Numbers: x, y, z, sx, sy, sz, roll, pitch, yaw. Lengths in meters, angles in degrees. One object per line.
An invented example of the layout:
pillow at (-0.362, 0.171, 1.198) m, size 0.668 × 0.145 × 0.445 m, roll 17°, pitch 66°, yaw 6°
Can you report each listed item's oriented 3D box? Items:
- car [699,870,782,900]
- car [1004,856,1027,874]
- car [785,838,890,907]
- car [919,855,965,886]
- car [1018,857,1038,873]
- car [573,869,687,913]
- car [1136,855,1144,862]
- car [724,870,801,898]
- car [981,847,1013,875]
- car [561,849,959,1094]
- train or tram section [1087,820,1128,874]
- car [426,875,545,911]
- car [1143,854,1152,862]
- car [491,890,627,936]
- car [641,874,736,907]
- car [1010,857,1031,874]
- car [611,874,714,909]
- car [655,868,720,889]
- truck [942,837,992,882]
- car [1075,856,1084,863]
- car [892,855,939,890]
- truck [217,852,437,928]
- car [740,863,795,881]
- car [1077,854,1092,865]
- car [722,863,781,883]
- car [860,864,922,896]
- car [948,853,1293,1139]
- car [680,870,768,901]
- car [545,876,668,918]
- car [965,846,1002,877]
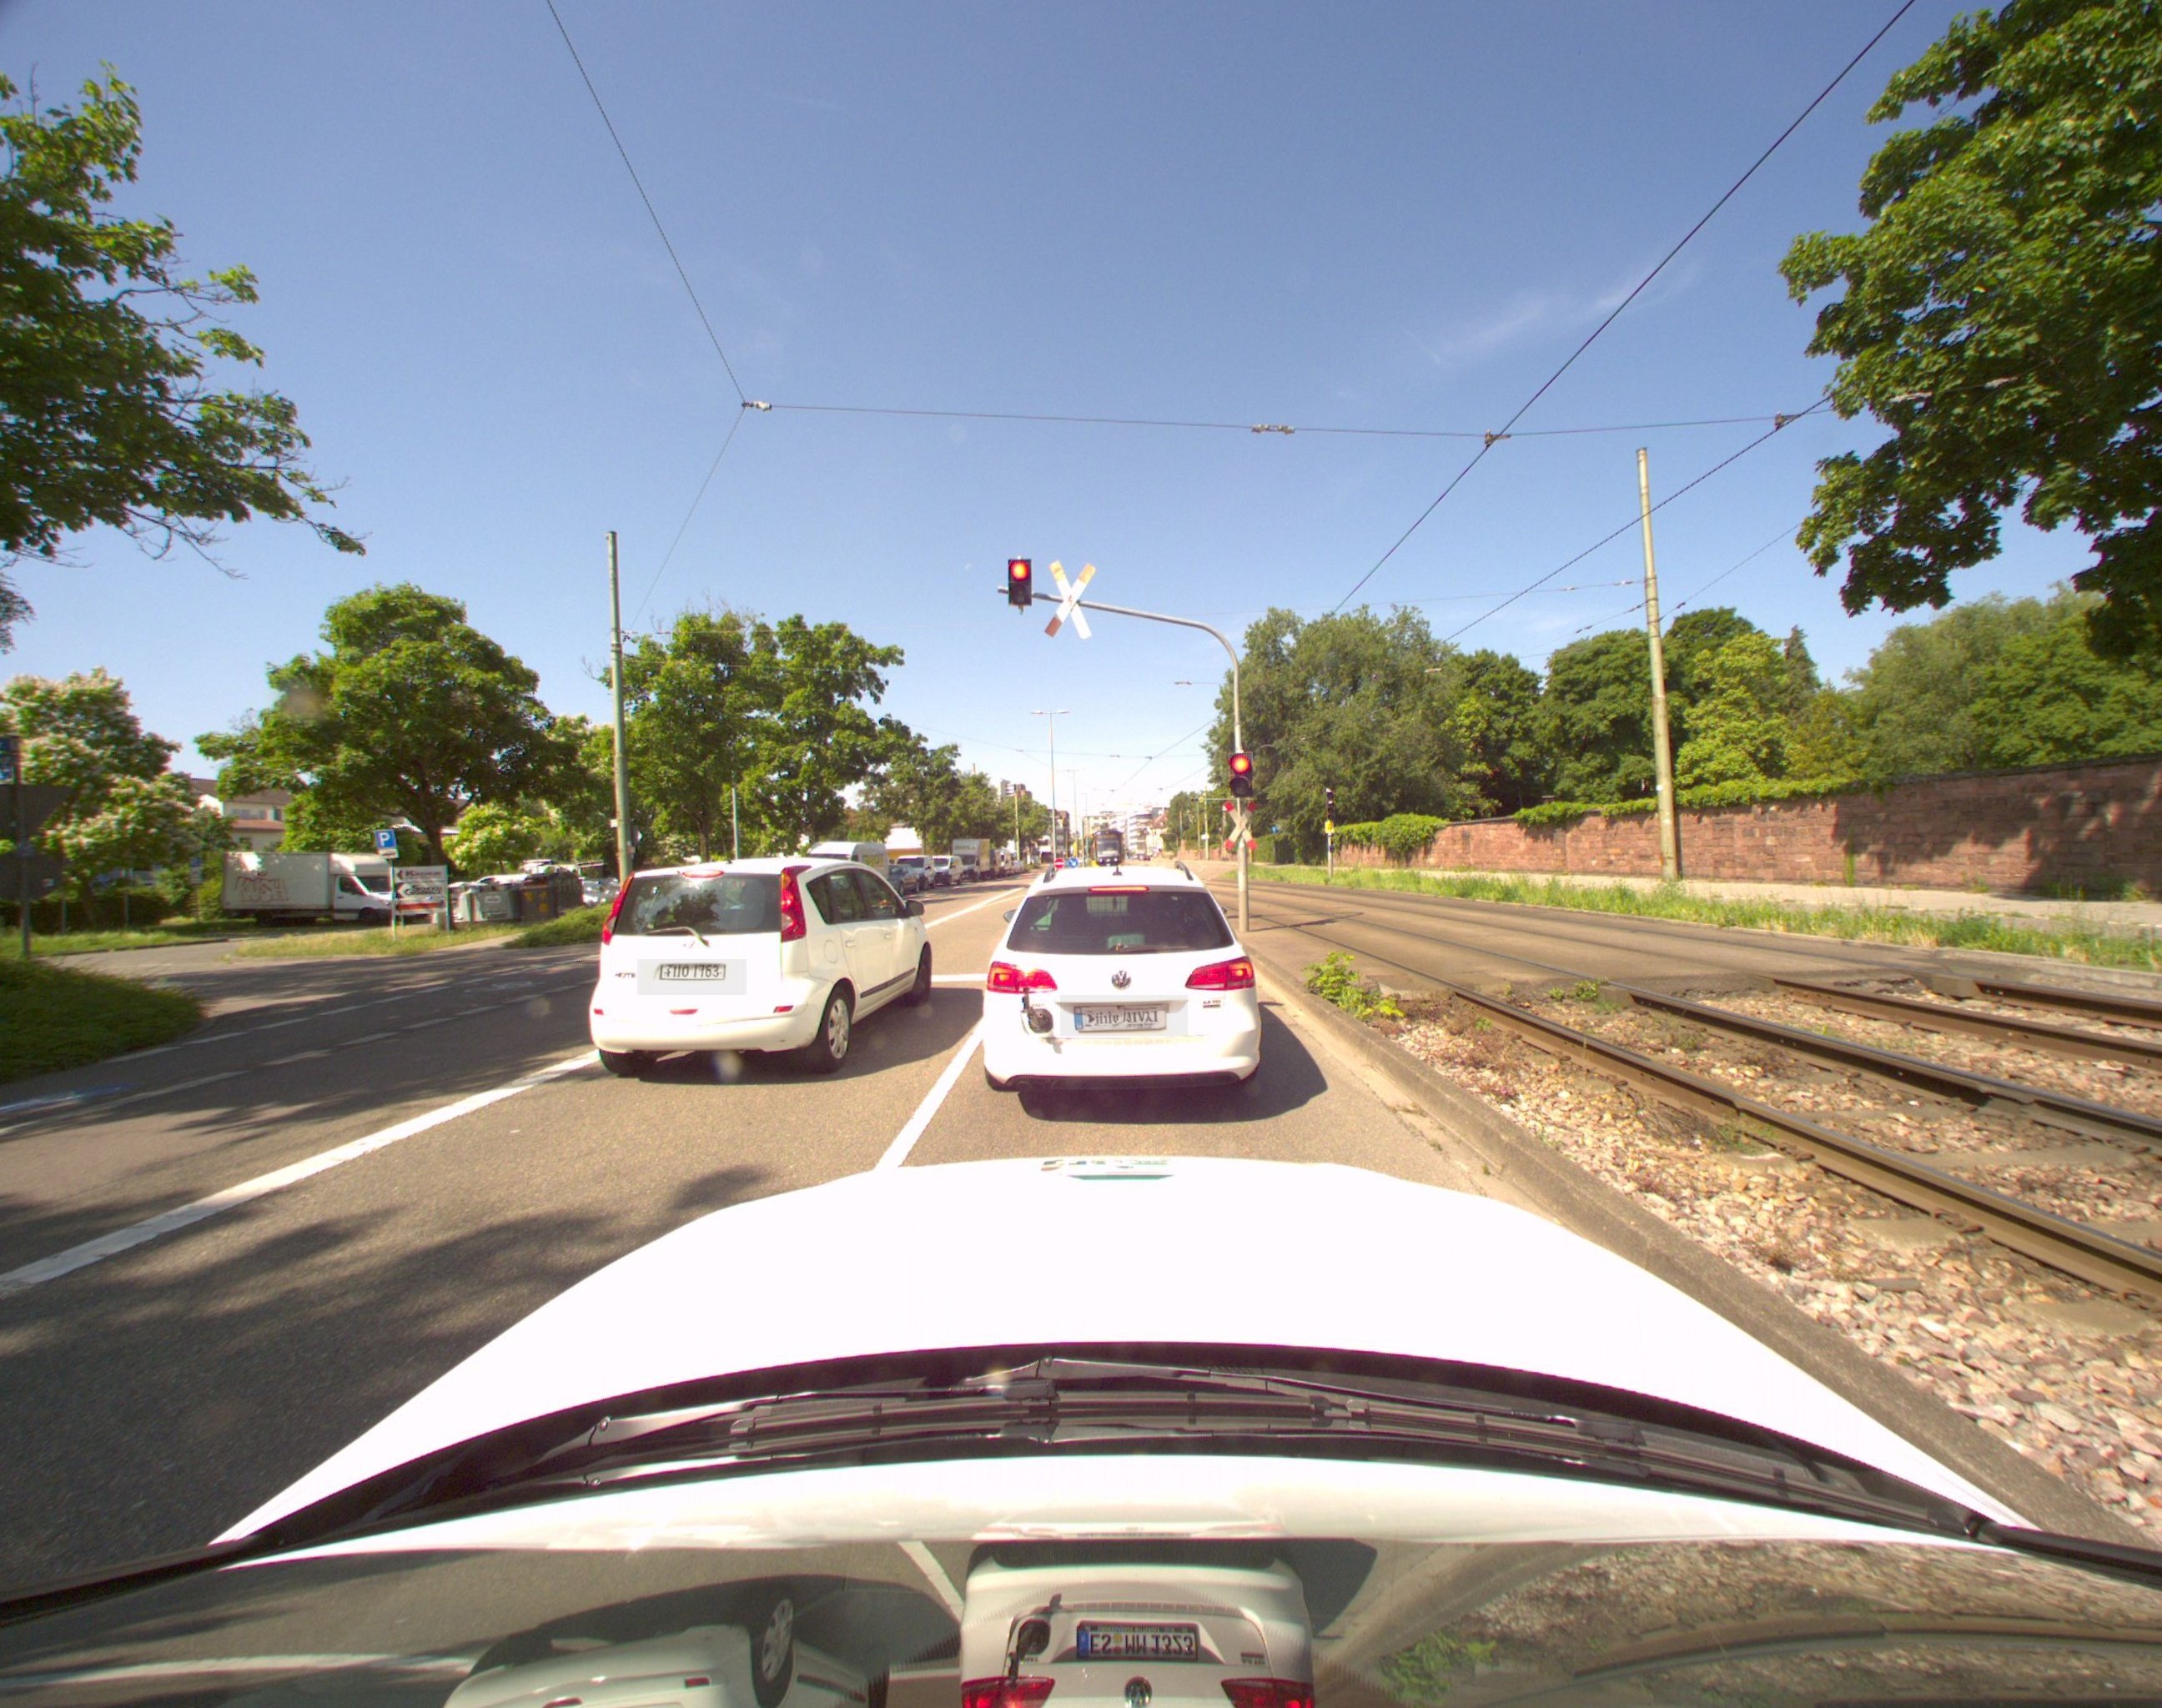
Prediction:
car at (-19.613, 1.759, 47.069) m, size 3.977 × 1.415 × 1.729 m, roll -4°, pitch -1°, yaw -3°
car at (-6.833, 1.138, 85.215) m, size 1.856 × 1.868 × 5.415 m, roll 0°, pitch 0°, yaw 1°
car at (-9.584, 0.680, 32.679) m, size 2.114 × 2.516 × 5.822 m, roll 0°, pitch 0°, yaw 3°
car at (-8.844, 1.003, 52.274) m, size 1.856 × 1.868 × 5.415 m, roll 0°, pitch 0°, yaw 1°
car at (-6.401, 1.342, 98.945) m, size 1.856 × 1.868 × 5.415 m, roll 0°, pitch 0°, yaw 1°
car at (-19.920, 1.621, 36.072) m, size 3.977 × 1.610 × 1.729 m, roll -4°, pitch -1°, yaw -3°
car at (15.345, 1.084, 210.695) m, size 1.857 × 1.868 × 5.063 m, roll 0°, pitch 0°, yaw 1°
car at (-19.467, 1.813, 49.885) m, size 3.977 × 1.415 × 1.729 m, roll -4°, pitch -1°, yaw -3°
car at (-7.778, 0.665, 76.126) m, size 2.114 × 2.516 × 5.737 m, roll 0°, pitch 0°, yaw 2°
car at (-2.425, 0.760, 7.538) m, size 1.655 × 1.547 × 4.550 m, roll -1°, pitch 0°, yaw 3°
train or tram section at (2.284, -0.539, 67.143) m, size 2.859 × 3.855 × 12.400 m, roll -3°, pitch 0°, yaw 3°
car at (-31.773, 2.041, 43.562) m, size 4.780 × 1.787 × 2.062 m, roll 0°, pitch -1°, yaw -3°
car at (15.918, 1.041, 196.263) m, size 1.857 × 1.868 × 5.063 m, roll 0°, pitch 0°, yaw 1°
car at (-19.902, 2.228, 31.172) m, size 3.977 × 1.415 × 1.729 m, roll -4°, pitch -1°, yaw -3°
car at (-20.292, 1.861, 42.219) m, size 3.977 × 1.415 × 1.729 m, roll -4°, pitch -1°, yaw -3°
car at (-6.782, 1.298, 92.033) m, size 1.856 × 1.868 × 5.415 m, roll 0°, pitch 0°, yaw 1°
car at (-20.299, 1.798, 39.608) m, size 3.977 × 1.415 × 1.729 m, roll -4°, pitch -1°, yaw -3°
car at (-35.205, 2.185, 72.976) m, size 4.780 × 1.787 × 2.062 m, roll 0°, pitch -1°, yaw -3°
truck at (-8.379, 0.403, 60.695) m, size 2.411 × 3.150 × 7.001 m, roll 0°, pitch 0°, yaw 2°
car at (-0.360, 1.322, 199.492) m, size 1.698 × 1.473 × 4.593 m, roll -3°, pitch 0°, yaw 3°
car at (-9.198, 0.983, 45.694) m, size 1.859 × 1.868 × 5.068 m, roll 0°, pitch 0°, yaw -4°
truck at (-32.428, 1.514, 35.210) m, size 6.979 × 3.110 × 2.677 m, roll 0°, pitch 0°, yaw 0°
car at (-31.782, 1.849, 82.782) m, size 4.780 × 1.787 × 2.062 m, roll 0°, pitch -1°, yaw -3°
car at (0.533, 0.773, 112.672) m, size 1.698 × 1.473 × 4.593 m, roll -3°, pitch 0°, yaw 3°
car at (-31.481, 1.808, 78.005) m, size 4.780 × 1.787 × 2.062 m, roll 0°, pitch -1°, yaw -3°
car at (-9.052, 1.215, 39.101) m, size 1.856 × 1.415 × 4.281 m, roll 0°, pitch 0°, yaw 1°
car at (0.269, 0.753, 6.304) m, size 1.756 × 1.430 × 4.002 m, roll -3°, pitch 0°, yaw 2°
car at (-19.543, 1.714, 44.735) m, size 3.977 × 1.415 × 1.729 m, roll -4°, pitch -1°, yaw -3°
car at (-19.671, 1.762, 33.865) m, size 3.977 × 1.415 × 1.729 m, roll -4°, pitch -1°, yaw -3°
car at (-8.154, 0.606, 68.694) m, size 2.114 × 2.516 × 5.737 m, roll 0°, pitch 0°, yaw 2°
